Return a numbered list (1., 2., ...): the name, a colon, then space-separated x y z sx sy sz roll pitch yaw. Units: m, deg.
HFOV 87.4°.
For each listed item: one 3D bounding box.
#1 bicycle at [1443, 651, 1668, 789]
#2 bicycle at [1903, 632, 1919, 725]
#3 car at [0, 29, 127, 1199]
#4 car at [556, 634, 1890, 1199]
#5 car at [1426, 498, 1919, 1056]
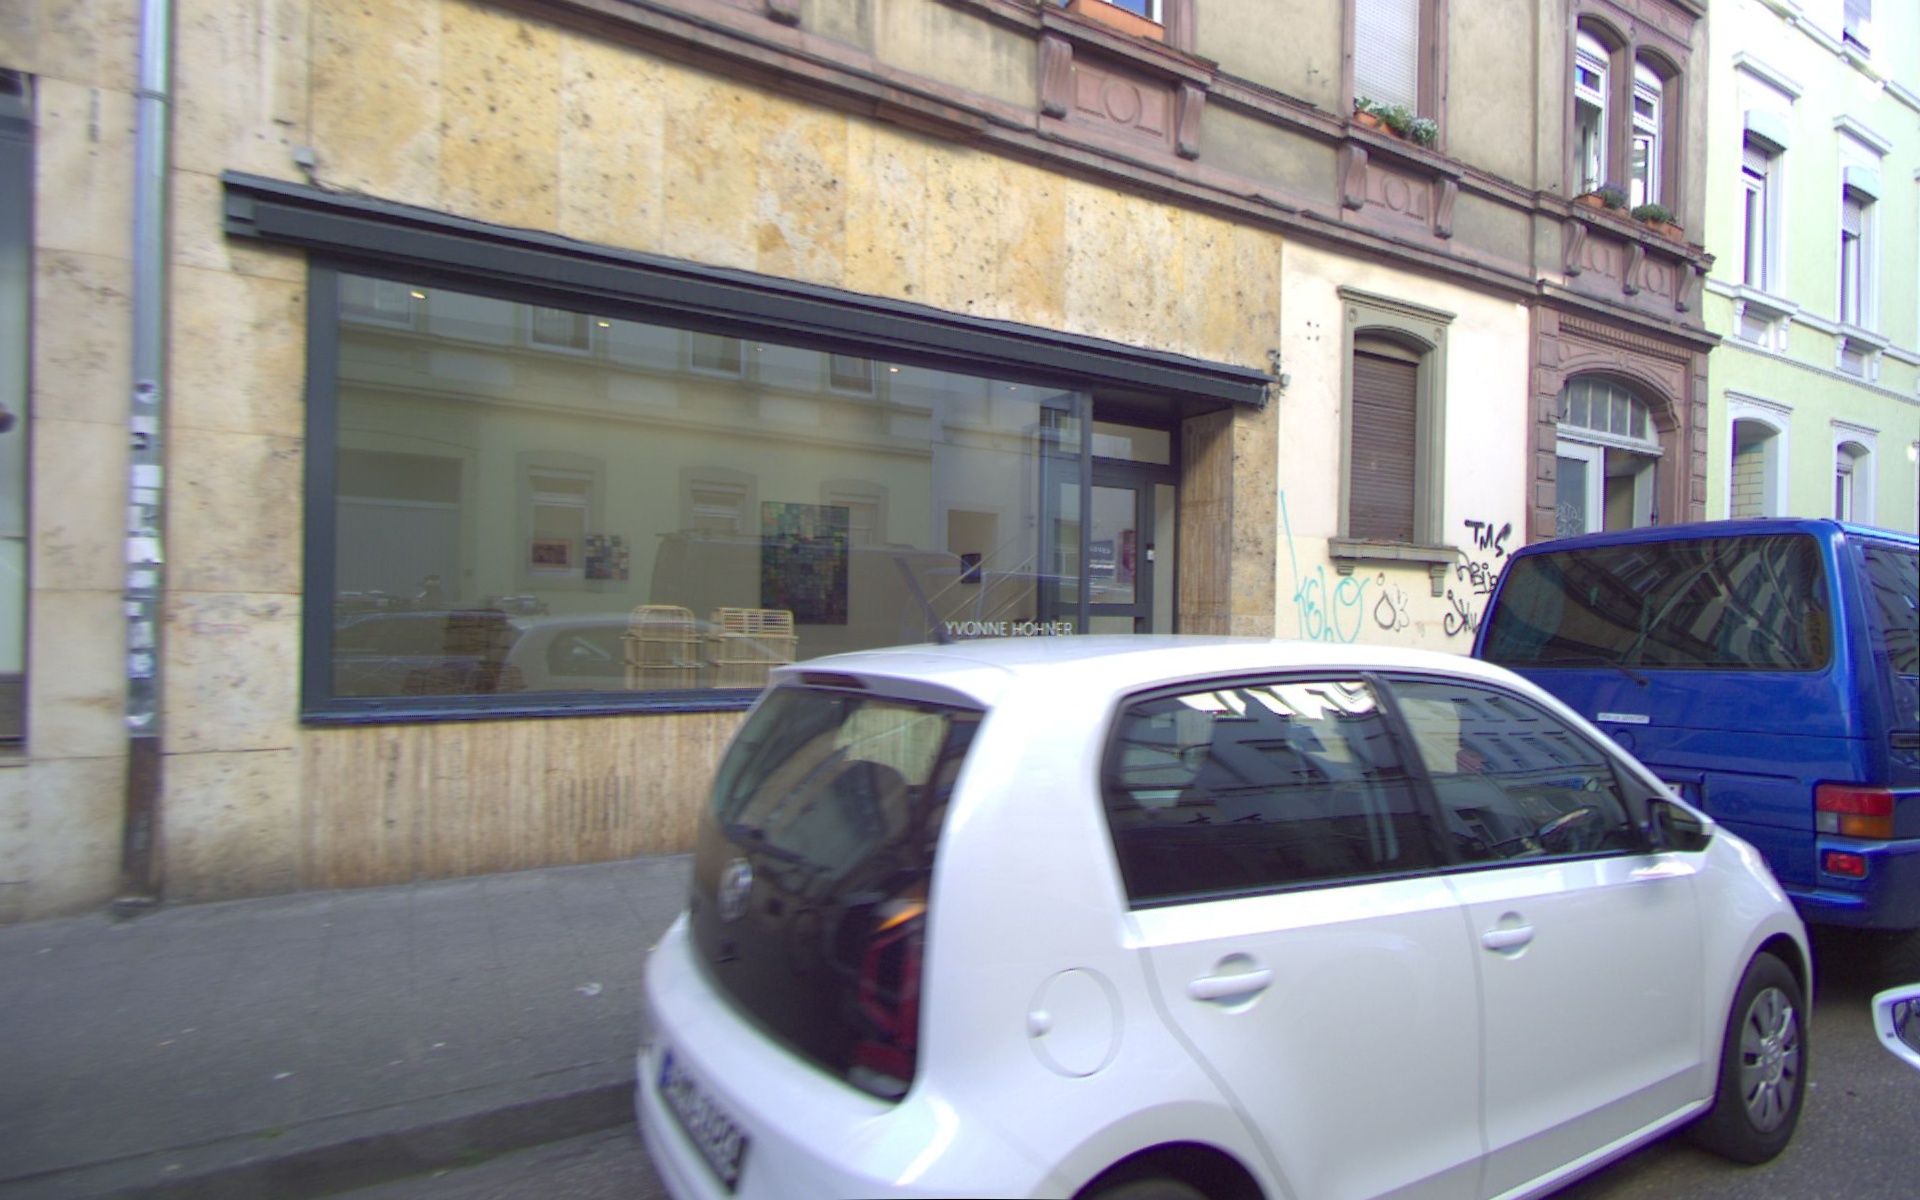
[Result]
1. bicycle: 5.284 1.007 8.886 2.004 1.035 0.751 1 3 -29
2. bicycle: 14.153 1.104 14.099 2.300 1.262 0.664 1 2 -31
3. car: -4.118 0.202 0.114 5.854 2.484 2.157 1 -2 -31
4. car: 0.970 0.847 2.956 3.796 1.466 1.637 1 -1 -32
5. car: 4.794 0.695 5.409 4.558 1.916 1.820 1 -4 -30
